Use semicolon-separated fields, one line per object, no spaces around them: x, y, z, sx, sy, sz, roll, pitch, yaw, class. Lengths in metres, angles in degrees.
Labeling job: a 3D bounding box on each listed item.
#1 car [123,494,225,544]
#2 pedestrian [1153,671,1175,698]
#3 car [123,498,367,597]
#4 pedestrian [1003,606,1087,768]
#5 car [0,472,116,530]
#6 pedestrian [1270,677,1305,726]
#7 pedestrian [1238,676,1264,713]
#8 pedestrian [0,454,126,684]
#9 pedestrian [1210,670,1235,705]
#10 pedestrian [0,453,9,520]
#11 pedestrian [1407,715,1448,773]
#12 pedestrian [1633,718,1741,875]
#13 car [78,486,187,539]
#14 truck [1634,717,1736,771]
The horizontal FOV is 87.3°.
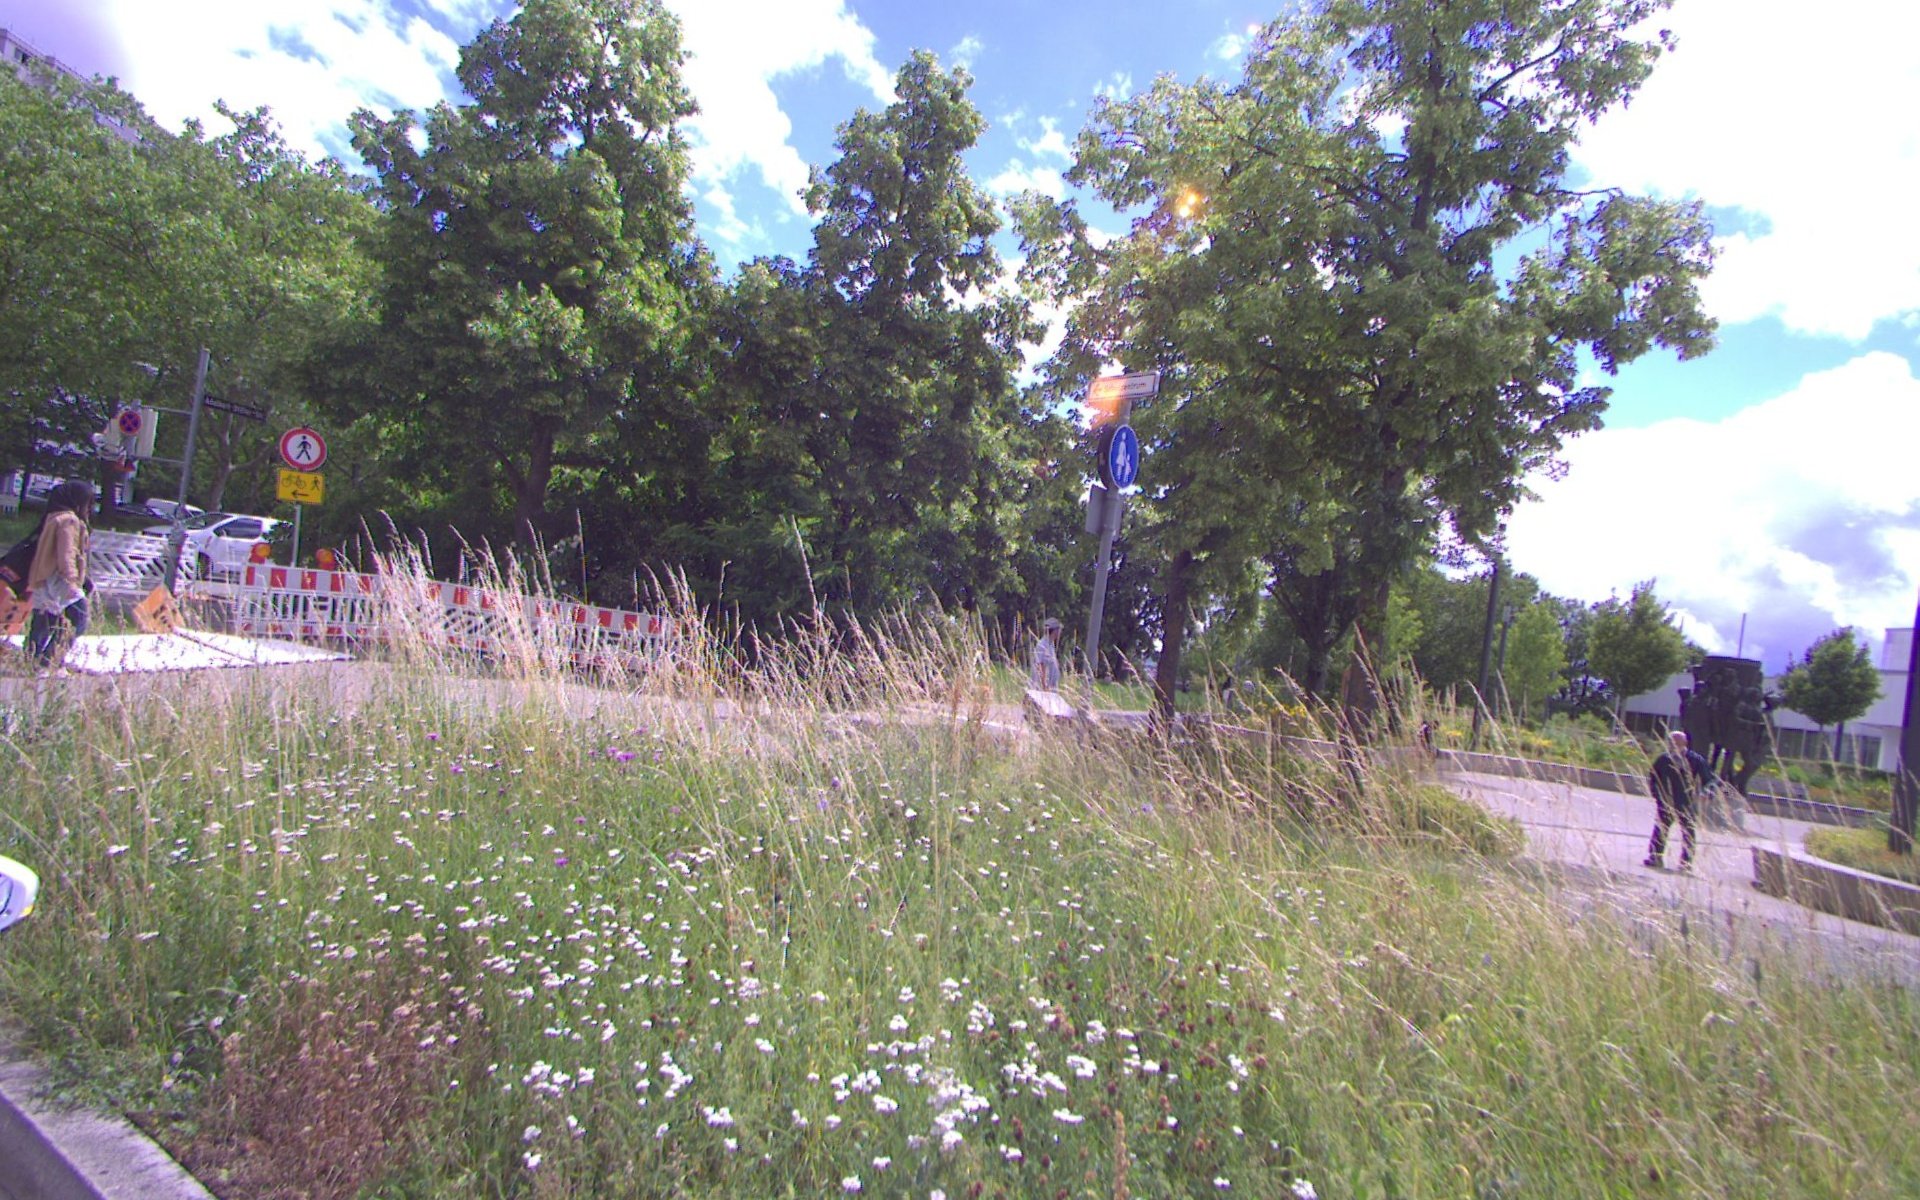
-44.240;-4.527;56.689;3.926;2.037;2.001;8;-1;0;car
13.717;5.675;67.576;1.135;1.571;0.818;8;-1;-2;pedestrian
-19.713;-1.385;28.051;1.915;1.895;5.090;7;-2;28;car
1.072;1.075;12.569;0.750;1.862;0.773;7;-1;11;pedestrian
-43.691;-4.776;48.569;3.926;2.037;2.001;8;-1;0;car
15.035;4.656;46.117;1.137;2.037;0.817;8;0;30;pedestrian
15.008;4.880;51.867;0.879;1.732;0.817;8;-1;30;pedestrian
-7.632;-0.256;8.414;0.778;1.763;0.820;8;-1;-36;pedestrian
13.654;4.565;52.399;0.872;1.681;0.817;8;-1;30;pedestrian
-5.896;-0.055;5.265;0.914;1.667;1.022;7;-1;34;pedestrian
10.771;3.307;23.159;0.623;1.236;0.618;7;-1;36;pedestrian
8.527;2.281;11.793;0.760;1.644;0.762;8;-1;-45;pedestrian
-43.785;-4.600;53.285;3.926;2.037;2.001;8;-1;0;car
37.322;7.392;51.924;1.965;2.037;3.999;8;-1;-4;truck
